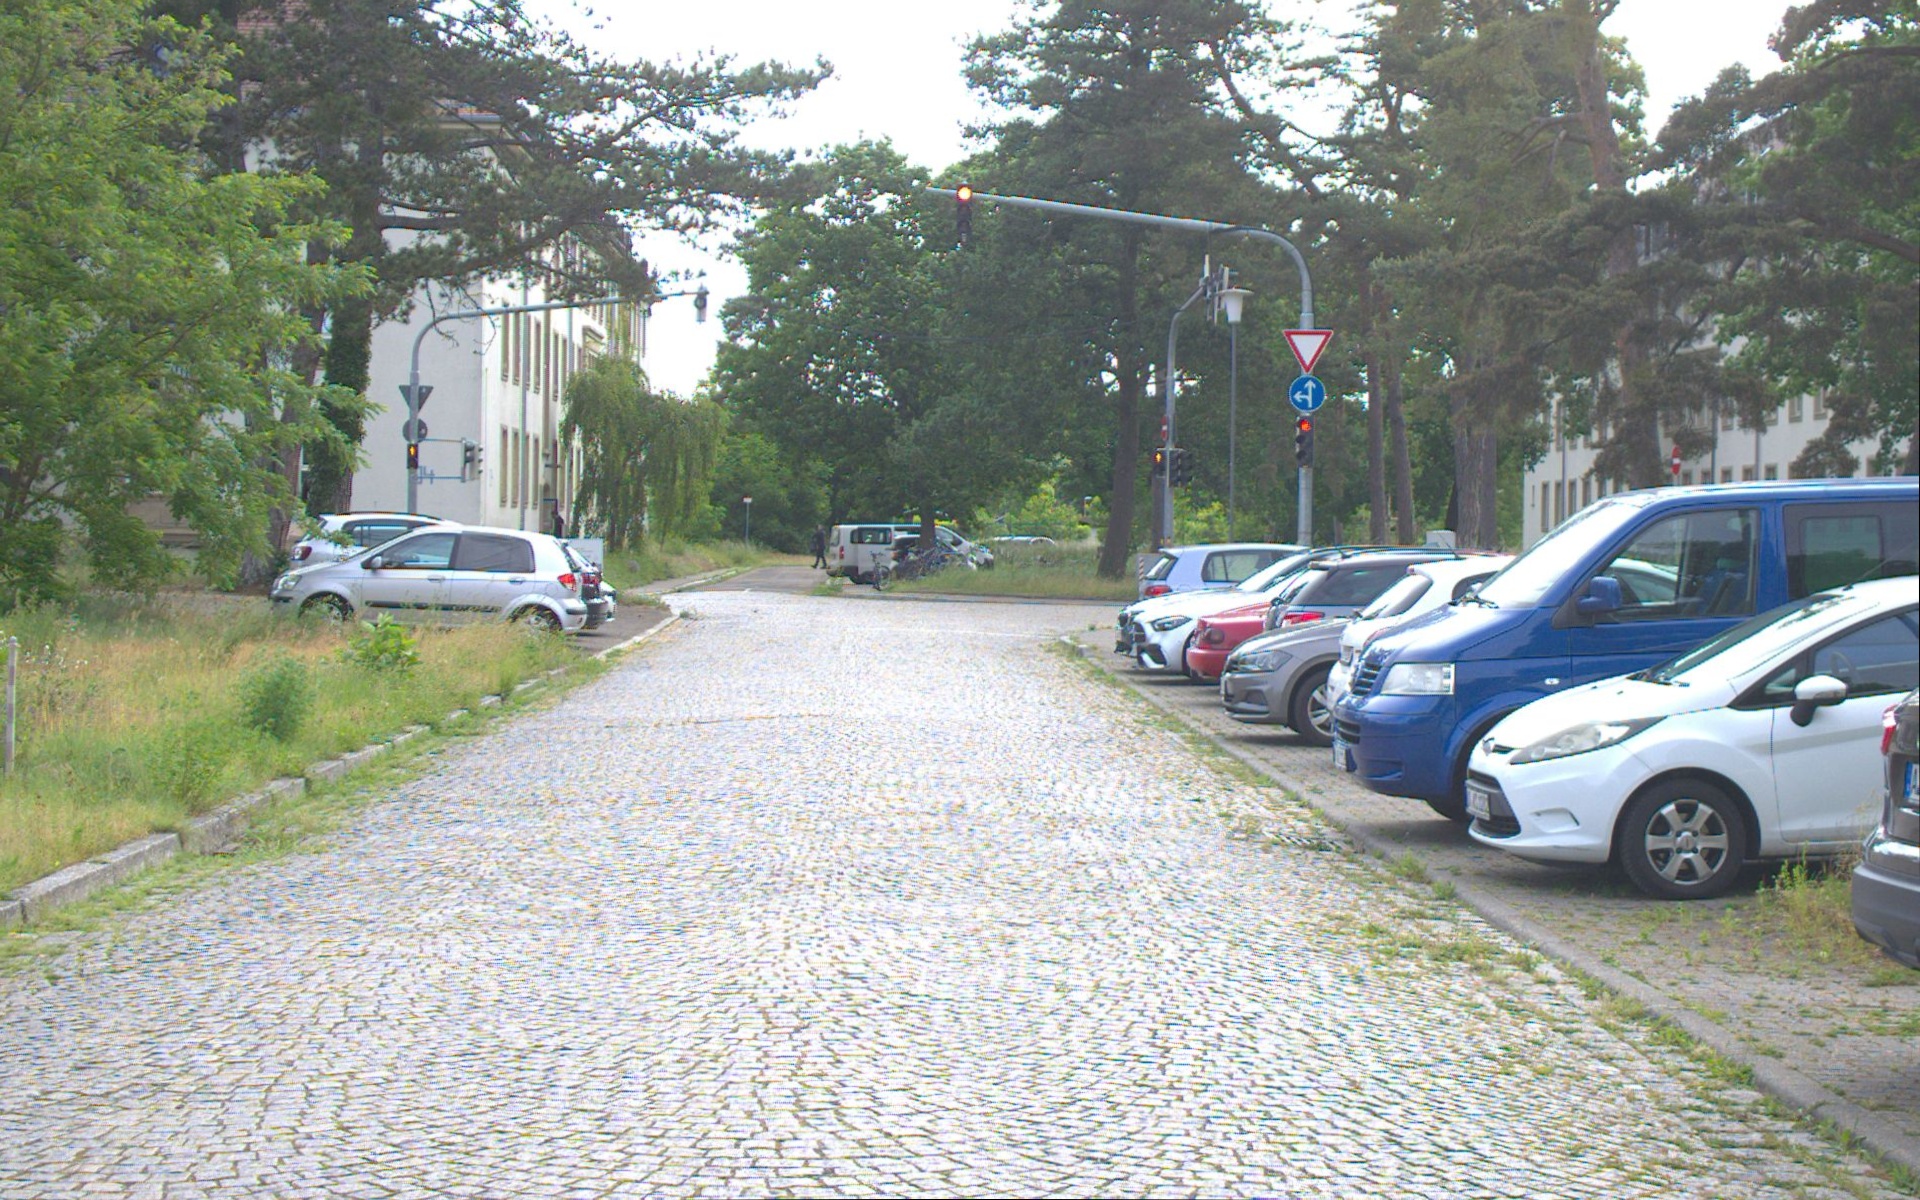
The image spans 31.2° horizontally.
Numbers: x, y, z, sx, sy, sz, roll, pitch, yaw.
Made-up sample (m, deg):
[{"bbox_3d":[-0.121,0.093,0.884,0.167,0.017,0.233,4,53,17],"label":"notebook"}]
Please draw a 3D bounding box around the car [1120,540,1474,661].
[{"bbox_3d":[4.166,-0.012,42.791,4.134,1.458,1.634,0,1,-6],"label":"car"}]

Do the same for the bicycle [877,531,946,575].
[{"bbox_3d":[-1.392,-1.342,98.302,1.881,1.167,0.665,2,1,-7],"label":"bicycle"}]

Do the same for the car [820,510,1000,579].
[{"bbox_3d":[-1.611,-1.780,109.602,5.374,2.094,2.179,1,1,-13],"label":"car"}]

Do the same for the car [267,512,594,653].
[{"bbox_3d":[-6.372,-0.227,41.658,3.720,1.475,1.673,3,1,-4],"label":"car"}]

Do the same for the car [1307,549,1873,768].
[{"bbox_3d":[4.393,0.388,24.372,3.653,1.473,1.766,0,1,-1],"label":"car"}]

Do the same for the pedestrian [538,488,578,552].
[{"bbox_3d":[-12.523,-2.483,107.086,1.074,1.952,1.121,2,1,-1],"label":"pedestrian"}]

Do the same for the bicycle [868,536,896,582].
[{"bbox_3d":[-2.037,-1.081,90.160,0.663,1.167,1.888,2,1,-1],"label":"bicycle"}]

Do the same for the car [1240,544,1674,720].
[{"bbox_3d":[4.307,0.258,30.142,3.505,1.482,1.743,0,1,-2],"label":"car"}]

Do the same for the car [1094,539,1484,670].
[{"bbox_3d":[3.828,0.027,40.231,4.227,1.474,1.710,0,1,-12],"label":"car"}]

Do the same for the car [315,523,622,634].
[{"bbox_3d":[-7.051,-0.322,49.504,4.297,1.548,1.812,0,1,-7],"label":"car"}]

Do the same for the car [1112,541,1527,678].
[{"bbox_3d":[3.881,0.079,37.465,4.184,1.432,1.756,0,1,-8],"label":"car"}]

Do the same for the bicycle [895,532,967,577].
[{"bbox_3d":[-0.795,-1.255,94.816,1.881,1.167,0.665,2,1,-7],"label":"bicycle"}]

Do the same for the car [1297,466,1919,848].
[{"bbox_3d":[4.404,0.274,19.058,4.795,1.997,1.967,0,1,-3],"label":"car"}]

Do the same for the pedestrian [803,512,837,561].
[{"bbox_3d":[-5.677,-2.581,139.480,1.239,1.952,1.121,2,1,-6],"label":"pedestrian"}]

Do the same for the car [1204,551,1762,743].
[{"bbox_3d":[4.079,0.349,27.271,4.130,1.442,1.766,0,1,-1],"label":"car"}]

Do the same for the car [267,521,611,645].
[{"bbox_3d":[-6.668,-0.231,44.251,4.297,1.548,1.812,0,1,-7],"label":"car"}]

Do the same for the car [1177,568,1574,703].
[{"bbox_3d":[3.912,0.319,32.763,3.586,1.218,1.628,0,1,0],"label":"car"}]

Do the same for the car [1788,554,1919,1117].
[{"bbox_3d":[4.816,0.673,10.168,4.203,1.589,1.953,0,1,-3],"label":"car"}]

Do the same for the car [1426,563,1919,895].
[{"bbox_3d":[4.443,0.576,16.519,4.097,1.473,1.722,0,1,-4],"label":"car"}]

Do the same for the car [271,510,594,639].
[{"bbox_3d":[-7.174,-0.359,47.045,4.297,1.726,1.653,0,1,-6],"label":"car"}]

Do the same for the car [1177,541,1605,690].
[{"bbox_3d":[4.354,0.141,35.112,4.104,1.471,1.685,0,1,-3],"label":"car"}]
